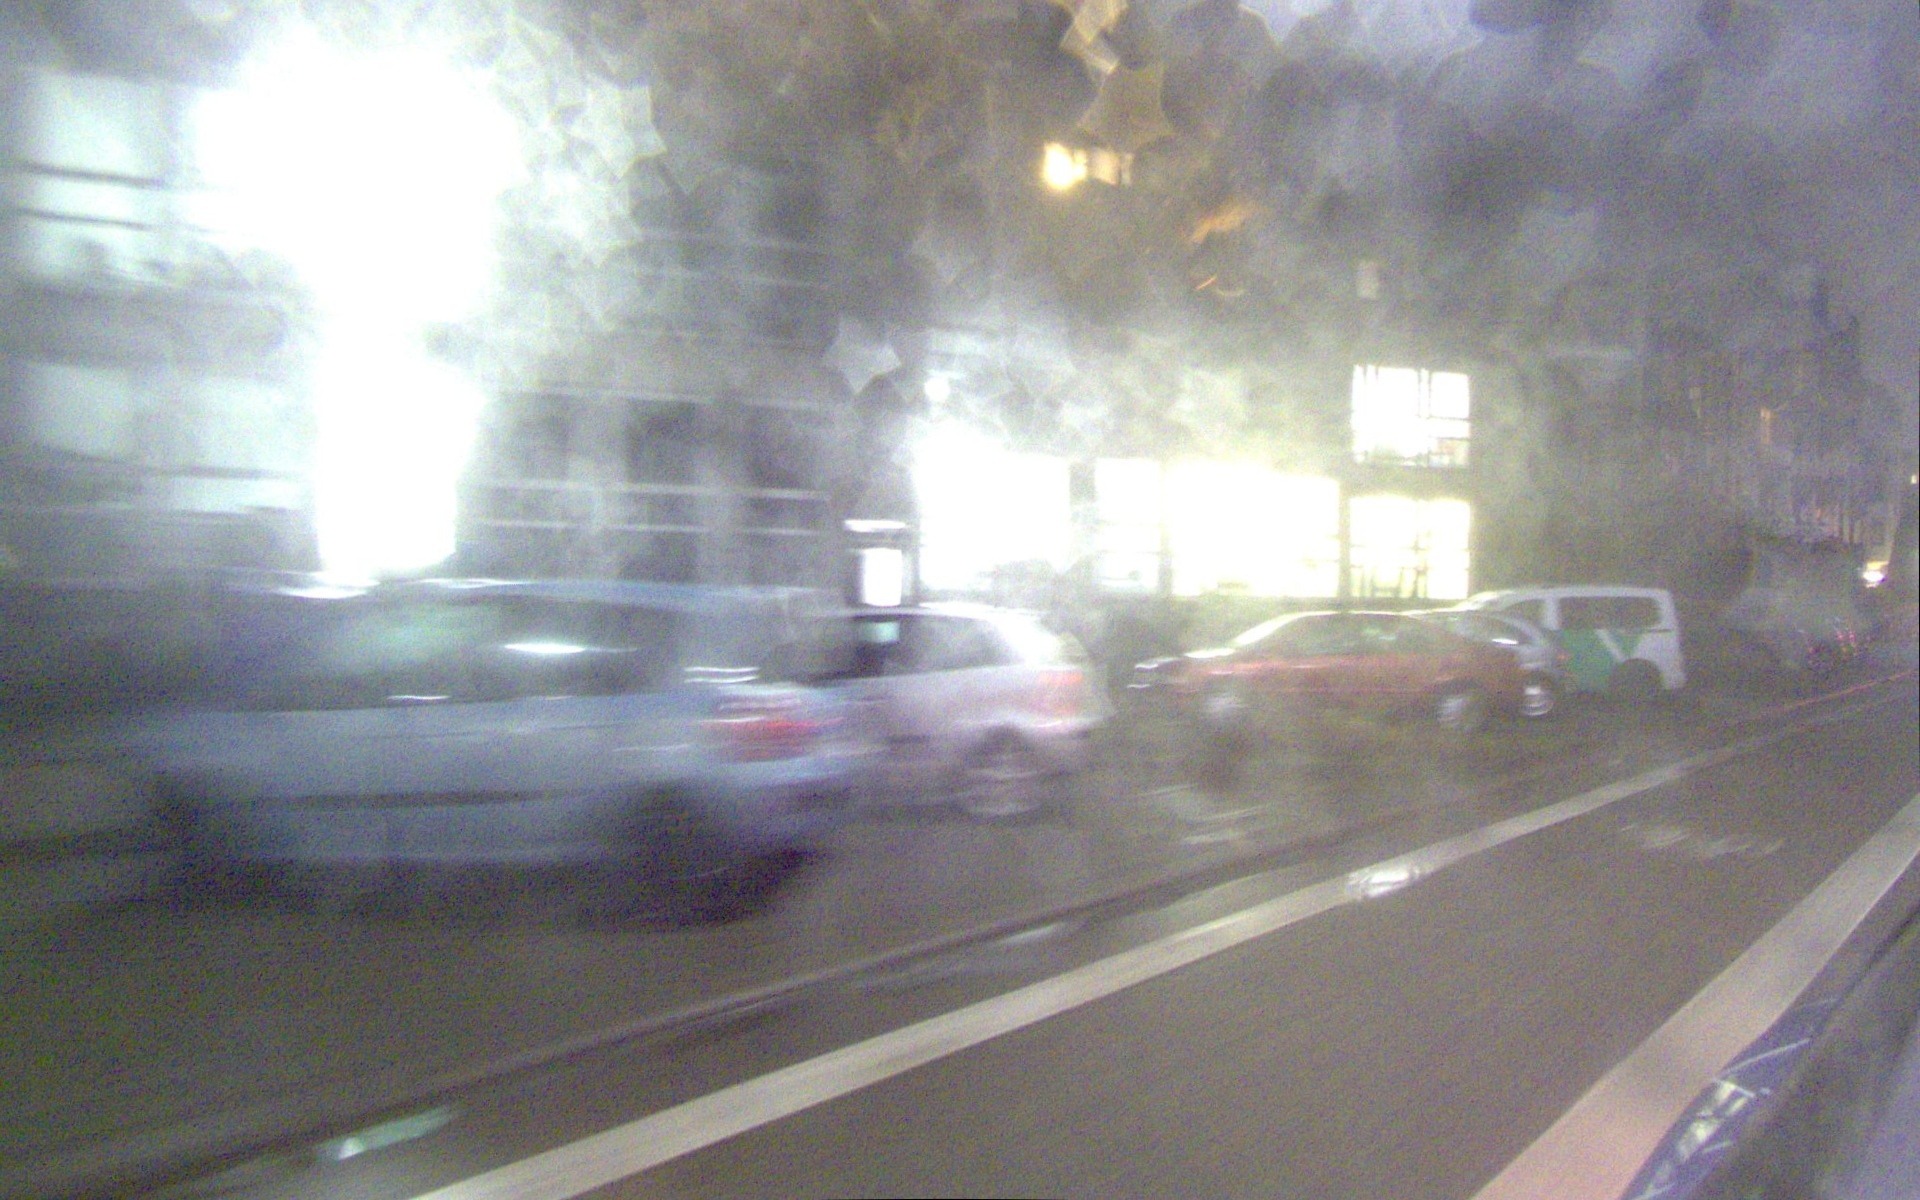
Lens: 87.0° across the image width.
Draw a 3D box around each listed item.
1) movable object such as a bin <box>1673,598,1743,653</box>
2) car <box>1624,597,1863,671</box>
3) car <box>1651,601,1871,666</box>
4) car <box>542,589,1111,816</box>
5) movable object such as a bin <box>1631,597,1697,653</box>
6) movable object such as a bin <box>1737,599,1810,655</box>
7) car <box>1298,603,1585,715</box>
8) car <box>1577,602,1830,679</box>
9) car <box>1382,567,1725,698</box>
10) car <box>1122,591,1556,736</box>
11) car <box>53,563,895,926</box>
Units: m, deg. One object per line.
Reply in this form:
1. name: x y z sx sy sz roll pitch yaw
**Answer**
1. movable object such as a bin: 20.426 0.664 27.675 1.400 1.425 1.016 1 1 30
2. car: 17.217 0.723 22.391 3.785 1.507 1.806 1 0 3
3. car: 19.231 0.793 24.447 3.726 1.477 1.766 -1 -1 8
4. car: -0.861 0.686 7.557 3.787 1.452 1.819 -1 -1 5
5. movable object such as a bin: 18.978 0.658 27.291 1.390 1.425 1.027 1 1 -35
6. movable object such as a bin: 21.684 0.695 27.014 1.341 1.425 1.016 1 0 30
7. car: 6.441 0.744 13.896 3.290 1.403 1.623 0 0 16
8. car: 14.854 0.795 20.397 3.768 1.457 1.597 -1 -1 6
9. car: 9.016 0.506 15.763 4.105 1.863 1.957 -1 -1 9
10. car: 4.223 0.684 11.797 4.375 1.422 1.691 2 0 2
11. car: -2.409 0.627 5.546 3.824 1.553 1.817 0 -1 9
